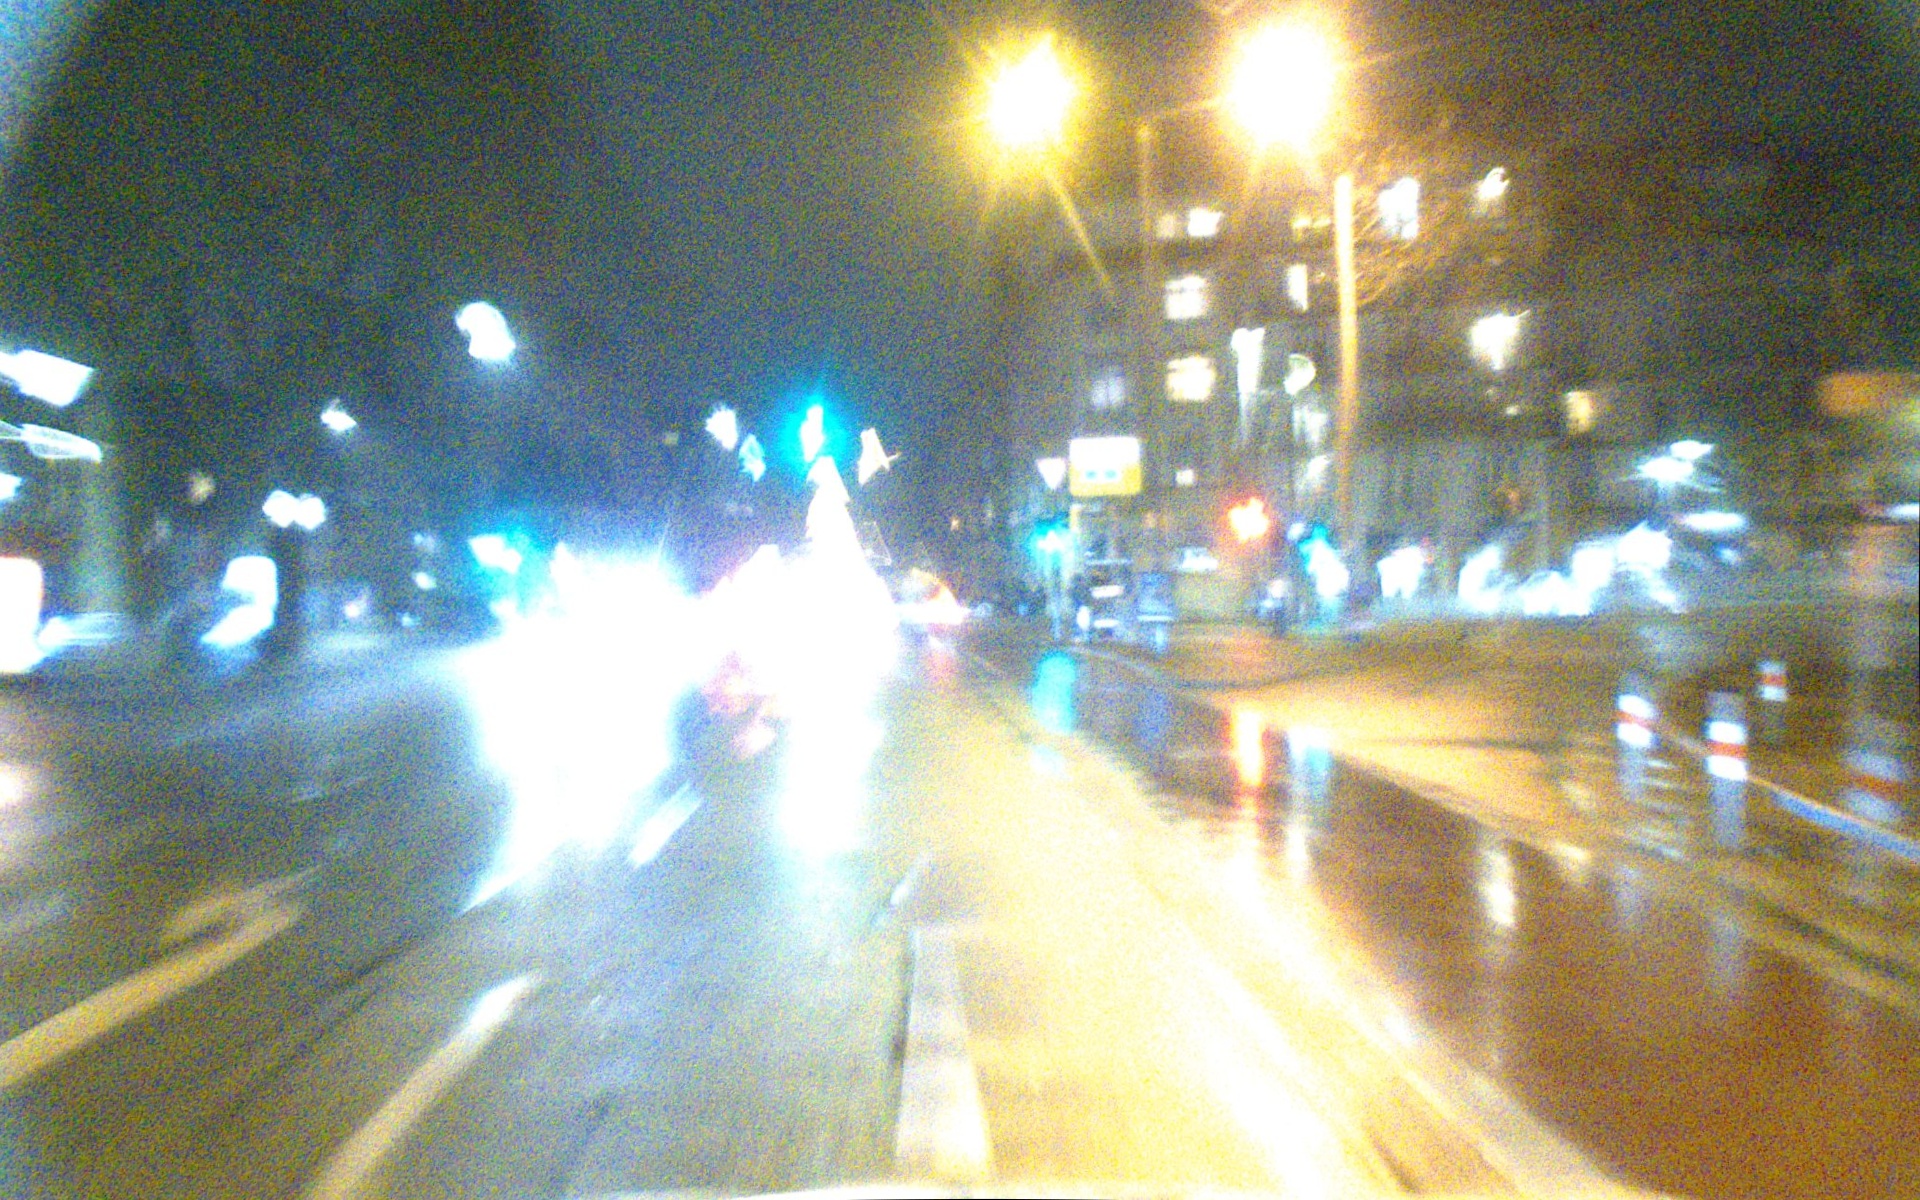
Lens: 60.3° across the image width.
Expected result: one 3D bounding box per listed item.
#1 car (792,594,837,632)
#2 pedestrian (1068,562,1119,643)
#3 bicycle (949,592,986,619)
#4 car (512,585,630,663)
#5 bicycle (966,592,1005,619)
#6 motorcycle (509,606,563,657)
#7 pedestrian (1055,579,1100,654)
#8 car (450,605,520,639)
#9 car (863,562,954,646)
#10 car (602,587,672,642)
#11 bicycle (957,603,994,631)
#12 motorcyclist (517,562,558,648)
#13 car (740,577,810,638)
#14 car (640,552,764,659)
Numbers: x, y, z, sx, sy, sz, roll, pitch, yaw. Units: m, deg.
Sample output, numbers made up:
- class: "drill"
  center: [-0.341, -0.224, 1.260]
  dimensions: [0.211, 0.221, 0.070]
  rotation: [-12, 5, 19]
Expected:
- class: "car"
  center: [-6.371, 0.583, 72.111]
  dimensions: [1.675, 1.569, 3.981]
  rotation: [-1, 0, -8]
- class: "pedestrian"
  center: [3.108, 0.055, 38.657]
  dimensions: [1.084, 1.857, 0.851]
  rotation: [-1, 0, 0]
- class: "bicycle"
  center: [0.391, 0.287, 87.065]
  dimensions: [1.862, 1.273, 0.594]
  rotation: [-3, -1, -9]
- class: "car"
  center: [-8.288, 0.461, 35.631]
  dimensions: [1.816, 1.525, 4.764]
  rotation: [-1, 1, -6]
- class: "bicycle"
  center: [1.316, 0.296, 85.909]
  dimensions: [1.862, 1.273, 0.709]
  rotation: [-3, -1, -9]
- class: "motorcycle"
  center: [-10.365, 0.758, 40.488]
  dimensions: [0.686, 1.158, 2.176]
  rotation: [-1, 0, 2]
- class: "pedestrian"
  center: [2.983, 0.417, 42.087]
  dimensions: [1.084, 1.857, 0.851]
  rotation: [-1, 0, 3]
- class: "car"
  center: [-27.230, 1.266, 94.978]
  dimensions: [1.662, 1.730, 4.195]
  rotation: [-1, 2, 20]
- class: "car"
  center: [-1.390, 0.115, 42.841]
  dimensions: [2.125, 2.006, 4.298]
  rotation: [-2, 0, -4]
- class: "car"
  center: [-10.005, 0.409, 51.515]
  dimensions: [1.614, 1.537, 4.105]
  rotation: [-4, 1, -5]
- class: "bicycle"
  center: [0.826, 0.914, 88.032]
  dimensions: [1.862, 1.383, 0.594]
  rotation: [-3, -1, -9]
- class: "motorcyclist"
  center: [-10.371, 0.117, 40.647]
  dimensions: [0.678, 2.049, 0.983]
  rotation: [-1, 0, 2]
- class: "car"
  center: [-5.075, 0.208, 45.771]
  dimensions: [1.783, 1.569, 4.720]
  rotation: [-1, 0, -5]
- class: "car"
  center: [-5.407, 0.073, 35.292]
  dimensions: [1.994, 1.987, 5.197]
  rotation: [-3, 1, -3]
